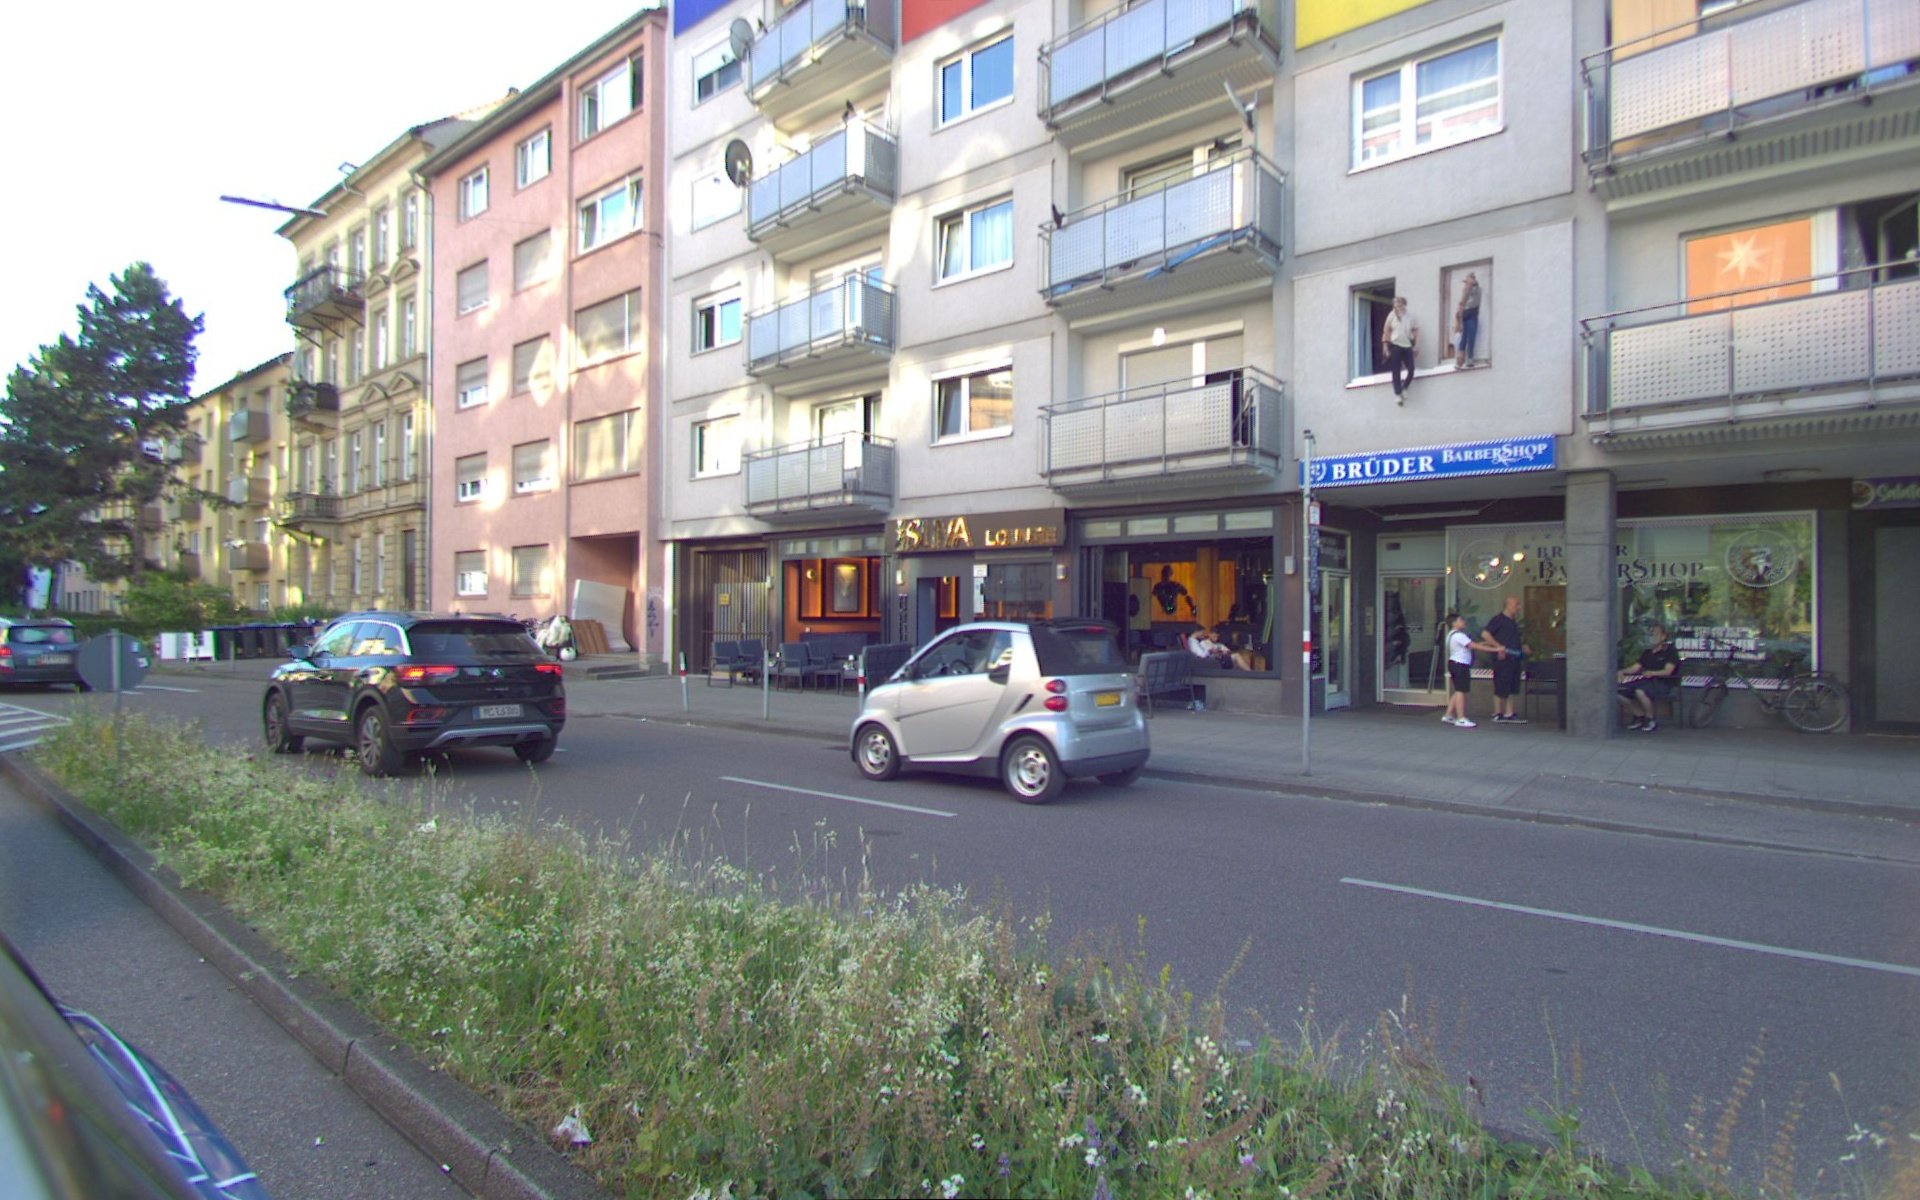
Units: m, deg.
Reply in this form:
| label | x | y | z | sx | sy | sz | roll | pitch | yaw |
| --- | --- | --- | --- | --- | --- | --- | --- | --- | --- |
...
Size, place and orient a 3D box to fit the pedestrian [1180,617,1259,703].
| label | x | y | z | sx | sy | sz | roll | pitch | yaw |
| --- | --- | --- | --- | --- | --- | --- | --- | --- | --- |
| pedestrian | 4.281 | 0.963 | 16.667 | 0.974 | 1.357 | 0.871 | -1 | -2 | 40 |

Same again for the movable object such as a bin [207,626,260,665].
| label | x | y | z | sx | sy | sz | roll | pitch | yaw |
| --- | --- | --- | --- | --- | --- | --- | --- | --- | --- |
| movable object such as a bin | -23.675 | 1.477 | 33.001 | 0.837 | 1.242 | 1.193 | 0 | -1 | 1 |

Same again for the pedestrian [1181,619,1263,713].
| label | x | y | z | sx | sy | sz | roll | pitch | yaw |
| --- | --- | --- | --- | --- | --- | --- | --- | --- | --- |
| pedestrian | 3.978 | 0.969 | 15.353 | 0.882 | 1.357 | 0.961 | -1 | -2 | 40 |

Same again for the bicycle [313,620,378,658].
| label | x | y | z | sx | sy | sz | roll | pitch | yaw |
| --- | --- | --- | --- | --- | --- | --- | --- | --- | --- |
| bicycle | -20.000 | 1.249 | 32.992 | 0.473 | 1.200 | 1.758 | -1 | -2 | 38 |

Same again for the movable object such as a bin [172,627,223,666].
| label | x | y | z | sx | sy | sz | roll | pitch | yaw |
| --- | --- | --- | --- | --- | --- | --- | --- | --- | --- |
| movable object such as a bin | -24.598 | 1.490 | 32.669 | 0.836 | 1.242 | 1.195 | 0 | -1 | -8 |

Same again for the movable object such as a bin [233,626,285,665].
| label | x | y | z | sx | sy | sz | roll | pitch | yaw |
| --- | --- | --- | --- | --- | --- | --- | --- | --- | --- |
| movable object such as a bin | -22.805 | 1.466 | 32.942 | 0.837 | 1.242 | 1.193 | 0 | -1 | 1 |

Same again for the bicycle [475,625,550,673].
| label | x | y | z | sx | sy | sz | roll | pitch | yaw |
| --- | --- | --- | --- | --- | --- | --- | --- | --- | --- |
| bicycle | -11.624 | 1.246 | 26.331 | 0.473 | 1.200 | 1.758 | -1 | -2 | 38 |

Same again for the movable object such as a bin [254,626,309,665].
| label | x | y | z | sx | sy | sz | roll | pitch | yaw |
| --- | --- | --- | --- | --- | --- | --- | --- | --- | --- |
| movable object such as a bin | -21.878 | 1.452 | 32.656 | 0.916 | 1.242 | 1.292 | 0 | -1 | 1 |

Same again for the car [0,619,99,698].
| label | x | y | z | sx | sy | sz | roll | pitch | yaw |
| --- | --- | --- | --- | --- | --- | --- | --- | --- | --- |
| car | -19.242 | 1.143 | 20.583 | 3.974 | 1.482 | 1.579 | -1 | -3 | 33 |

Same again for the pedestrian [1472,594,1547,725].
| label | x | y | z | sx | sy | sz | roll | pitch | yaw |
| --- | --- | --- | --- | --- | --- | --- | --- | --- | --- |
| pedestrian | 7.237 | 0.774 | 13.359 | 0.650 | 1.685 | 0.625 | 0 | -1 | 5 |

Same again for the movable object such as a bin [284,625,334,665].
| label | x | y | z | sx | sy | sz | roll | pitch | yaw |
| --- | --- | --- | --- | --- | --- | --- | --- | --- | --- |
| movable object such as a bin | -20.949 | 1.442 | 32.606 | 0.837 | 1.242 | 1.193 | 0 | -1 | 1 |

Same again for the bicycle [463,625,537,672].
| label | x | y | z | sx | sy | sz | roll | pitch | yaw |
| --- | --- | --- | --- | --- | --- | --- | --- | --- | --- |
| bicycle | -12.166 | 1.260 | 26.825 | 0.473 | 1.200 | 1.758 | -1 | -2 | 38 |

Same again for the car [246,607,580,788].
| label | x | y | z | sx | sy | sz | roll | pitch | yaw |
| --- | --- | --- | --- | --- | --- | --- | --- | --- | --- |
| car | -5.894 | 0.916 | 10.712 | 4.098 | 1.556 | 1.658 | -2 | -3 | 39 |

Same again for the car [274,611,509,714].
| label | x | y | z | sx | sy | sz | roll | pitch | yaw |
| --- | --- | --- | --- | --- | --- | --- | --- | --- | --- |
| car | -10.034 | 1.050 | 17.818 | 4.084 | 1.641 | 1.708 | -1 | -3 | 29 |

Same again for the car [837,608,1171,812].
| label | x | y | z | sx | sy | sz | roll | pitch | yaw |
| --- | --- | --- | --- | --- | --- | --- | --- | --- | --- |
| car | 0.364 | 0.921 | 9.494 | 2.806 | 1.605 | 1.519 | -2 | -3 | 41 |

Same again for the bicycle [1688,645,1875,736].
| label | x | y | z | sx | sy | sz | roll | pitch | yaw |
| --- | --- | --- | --- | --- | --- | --- | --- | --- | --- |
| bicycle | 9.971 | 1.074 | 12.366 | 1.691 | 1.006 | 0.620 | 0 | -1 | 32 |

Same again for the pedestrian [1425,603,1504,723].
| label | x | y | z | sx | sy | sz | roll | pitch | yaw |
| --- | --- | --- | --- | --- | --- | --- | --- | --- | --- |
| pedestrian | 6.444 | 0.788 | 12.945 | 0.647 | 1.478 | 0.627 | 1 | -1 | -27 |

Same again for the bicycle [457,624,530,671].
| label | x | y | z | sx | sy | sz | roll | pitch | yaw |
| --- | --- | --- | --- | --- | --- | --- | --- | --- | --- |
| bicycle | -12.554 | 1.264 | 27.263 | 0.473 | 1.200 | 1.758 | -1 | -2 | 38 |

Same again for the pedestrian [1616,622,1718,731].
| label | x | y | z | sx | sy | sz | roll | pitch | yaw |
| --- | --- | --- | --- | --- | --- | --- | --- | --- | --- |
| pedestrian | 8.792 | 0.936 | 12.605 | 0.798 | 1.323 | 0.626 | 0 | -1 | -3 |
